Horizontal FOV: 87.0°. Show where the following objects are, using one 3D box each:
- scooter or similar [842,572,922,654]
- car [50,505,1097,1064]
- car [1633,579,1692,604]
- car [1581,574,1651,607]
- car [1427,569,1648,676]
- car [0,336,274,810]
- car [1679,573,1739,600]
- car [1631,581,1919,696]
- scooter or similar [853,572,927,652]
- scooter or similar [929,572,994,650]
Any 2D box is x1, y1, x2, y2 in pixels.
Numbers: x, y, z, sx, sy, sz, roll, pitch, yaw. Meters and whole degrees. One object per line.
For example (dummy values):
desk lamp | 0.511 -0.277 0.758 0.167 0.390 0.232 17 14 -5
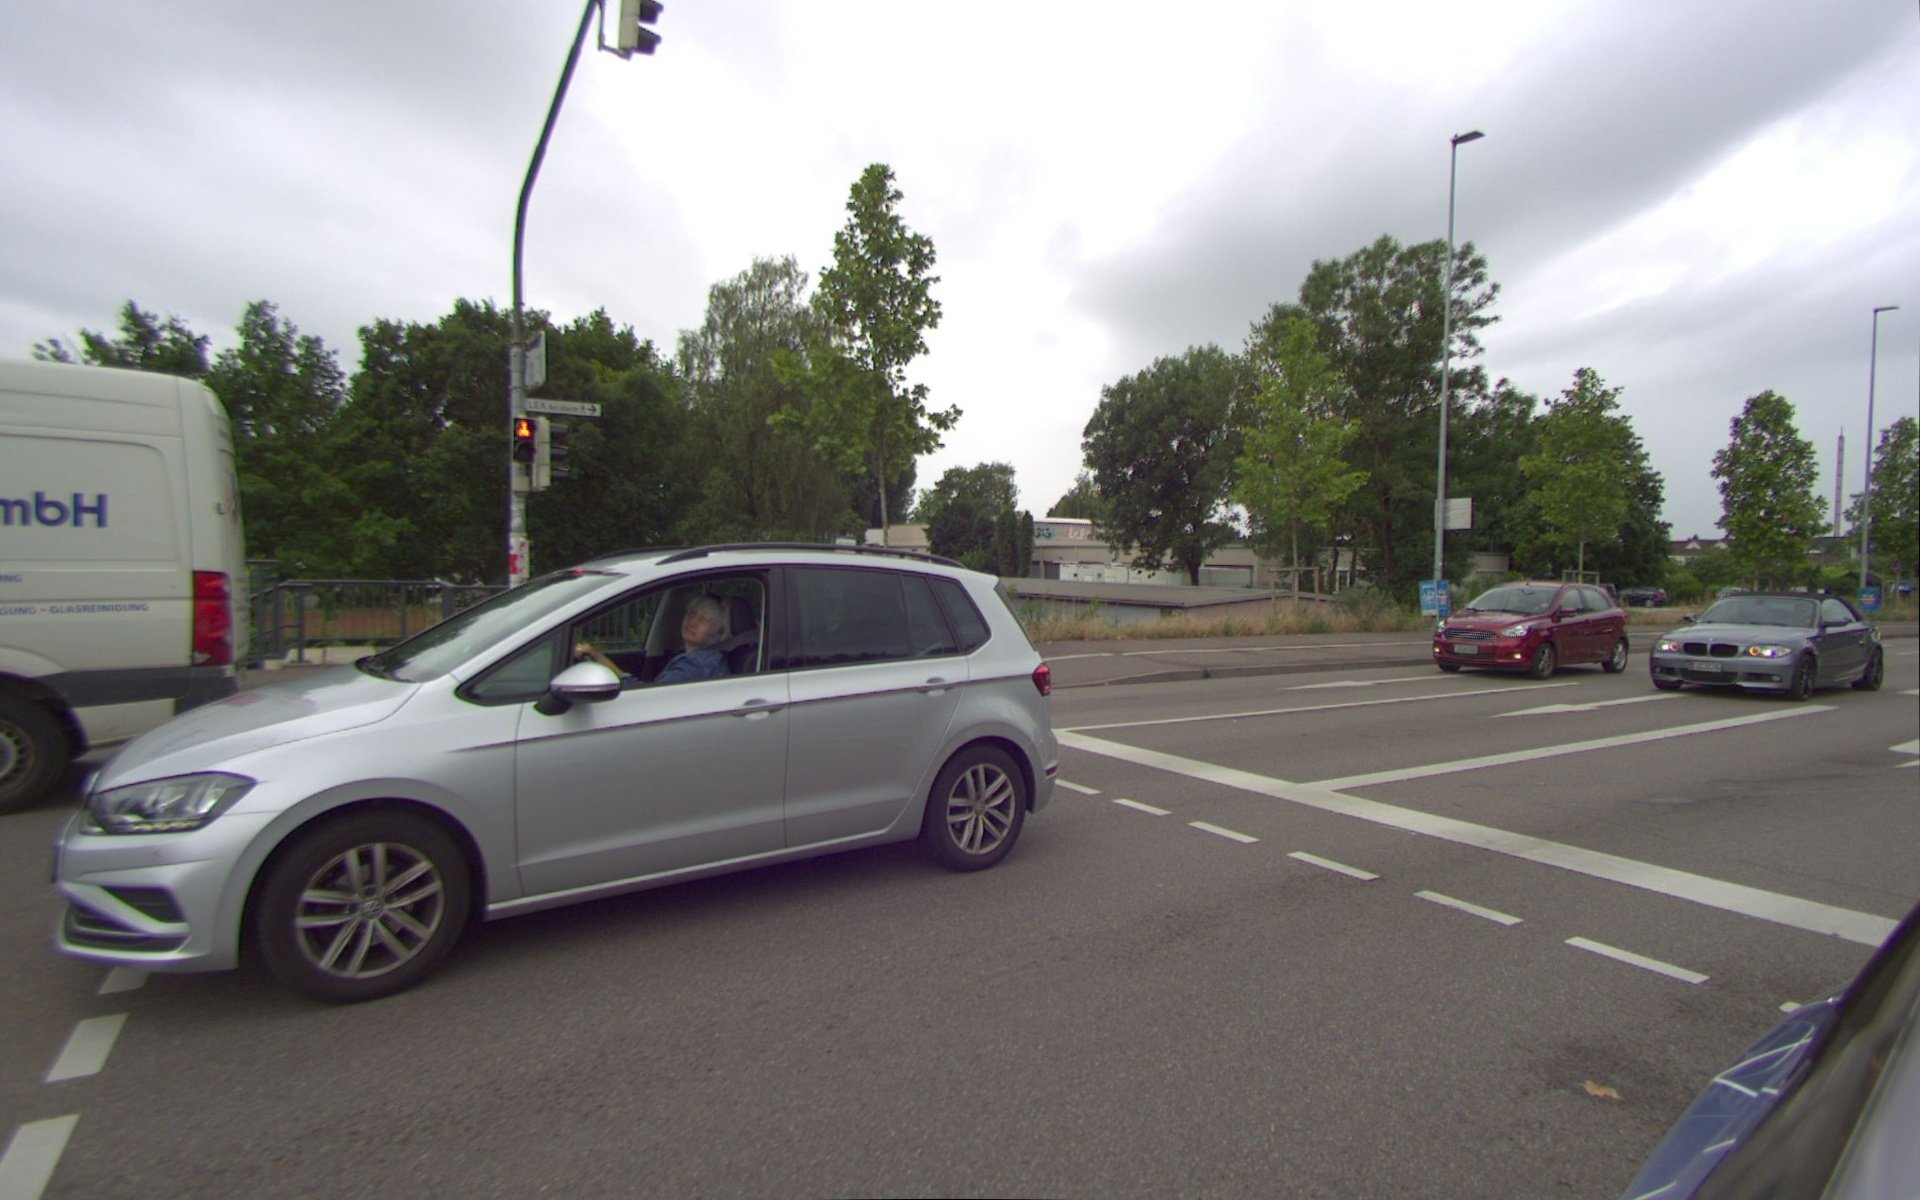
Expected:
scooter or similar | -1.237 0.201 16.039 1.131 1.258 0.479 1 3 -25
car | -1.476 0.483 4.842 4.124 1.571 1.860 0 2 -38
car | 51.424 -0.625 74.024 4.562 1.717 2.124 0 1 -35
car | 44.968 -0.626 69.345 4.468 2.038 2.193 1 3 -32
car | 9.549 0.316 16.672 3.698 1.581 1.657 0 1 -33
car | -7.479 -0.179 5.849 5.786 2.658 2.666 0 1 -34
car | 58.983 -1.072 79.663 4.469 2.039 2.319 1 1 -33
car | 11.636 0.456 14.373 4.257 1.408 1.878 0 1 -31
scooter or similar | -1.147 0.184 16.613 1.131 1.258 0.392 0 3 -30
scooter or similar | 0.029 0.175 16.982 1.026 1.229 0.376 -2 4 -25
